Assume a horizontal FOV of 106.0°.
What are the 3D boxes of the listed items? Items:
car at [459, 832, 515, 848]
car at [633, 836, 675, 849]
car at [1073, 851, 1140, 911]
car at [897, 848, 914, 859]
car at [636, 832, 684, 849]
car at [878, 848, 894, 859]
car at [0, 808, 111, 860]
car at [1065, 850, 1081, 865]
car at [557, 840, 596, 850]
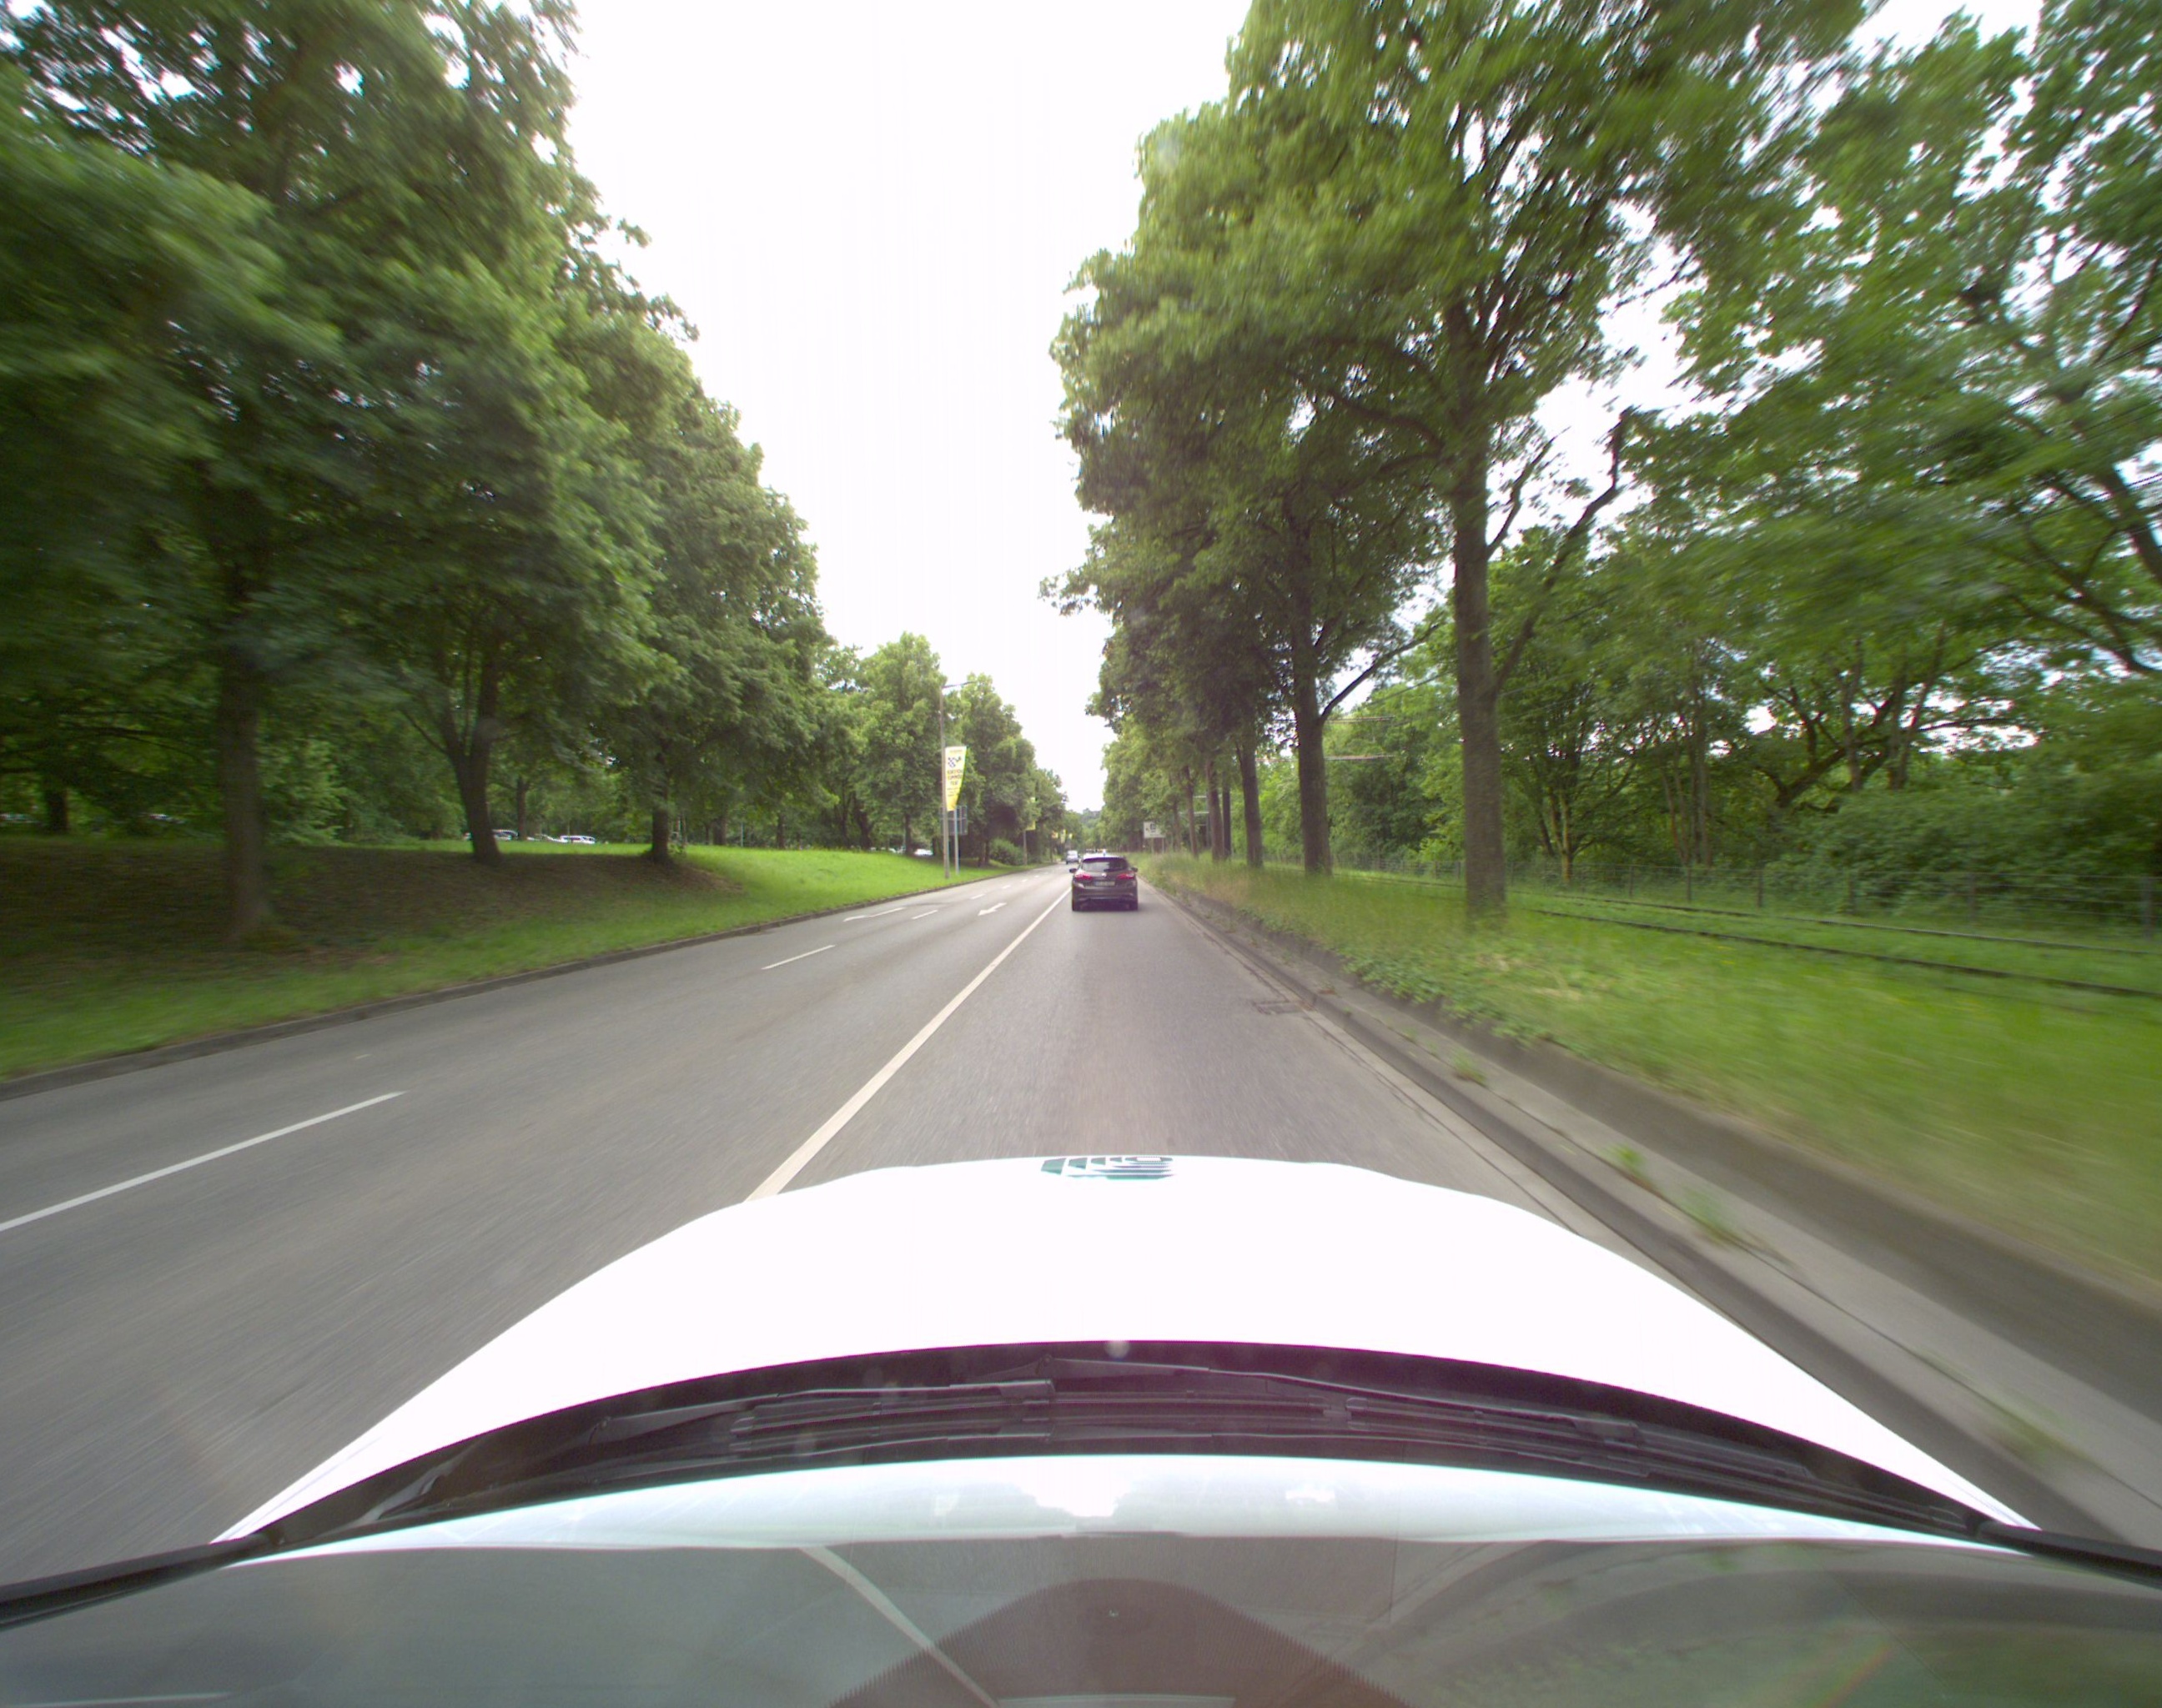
[{"bbox_3d":[-48.968,-1.132,67.206,3.516,1.233,1.388,0,0,-27],"label":"car"},{"bbox_3d":[-41.001,-1.122,78.210,3.516,1.210,1.388,0,0,-27],"label":"car"},{"bbox_3d":[0.694,0.703,22.695,1.724,1.537,3.552,0,0,1],"label":"car"},{"bbox_3d":[-25.119,-0.033,116.551,1.652,1.486,3.970,0,0,-22],"label":"car"},{"bbox_3d":[-41.876,-1.341,81.078,4.118,1.683,1.741,0,0,-23],"label":"car"},{"bbox_3d":[-27.830,-0.108,116.068,1.652,1.486,3.970,0,0,-22],"label":"car"},{"bbox_3d":[-40.343,-0.727,30.295,4.913,1.895,2.301,0,0,-26],"label":"car"},{"bbox_3d":[-1.093,0.523,118.301,1.986,1.955,5.186,-2,0,2],"label":"car"},{"bbox_3d":[-63.345,-1.071,102.326,3.990,1.210,1.888,0,0,-24],"label":"car"}]
